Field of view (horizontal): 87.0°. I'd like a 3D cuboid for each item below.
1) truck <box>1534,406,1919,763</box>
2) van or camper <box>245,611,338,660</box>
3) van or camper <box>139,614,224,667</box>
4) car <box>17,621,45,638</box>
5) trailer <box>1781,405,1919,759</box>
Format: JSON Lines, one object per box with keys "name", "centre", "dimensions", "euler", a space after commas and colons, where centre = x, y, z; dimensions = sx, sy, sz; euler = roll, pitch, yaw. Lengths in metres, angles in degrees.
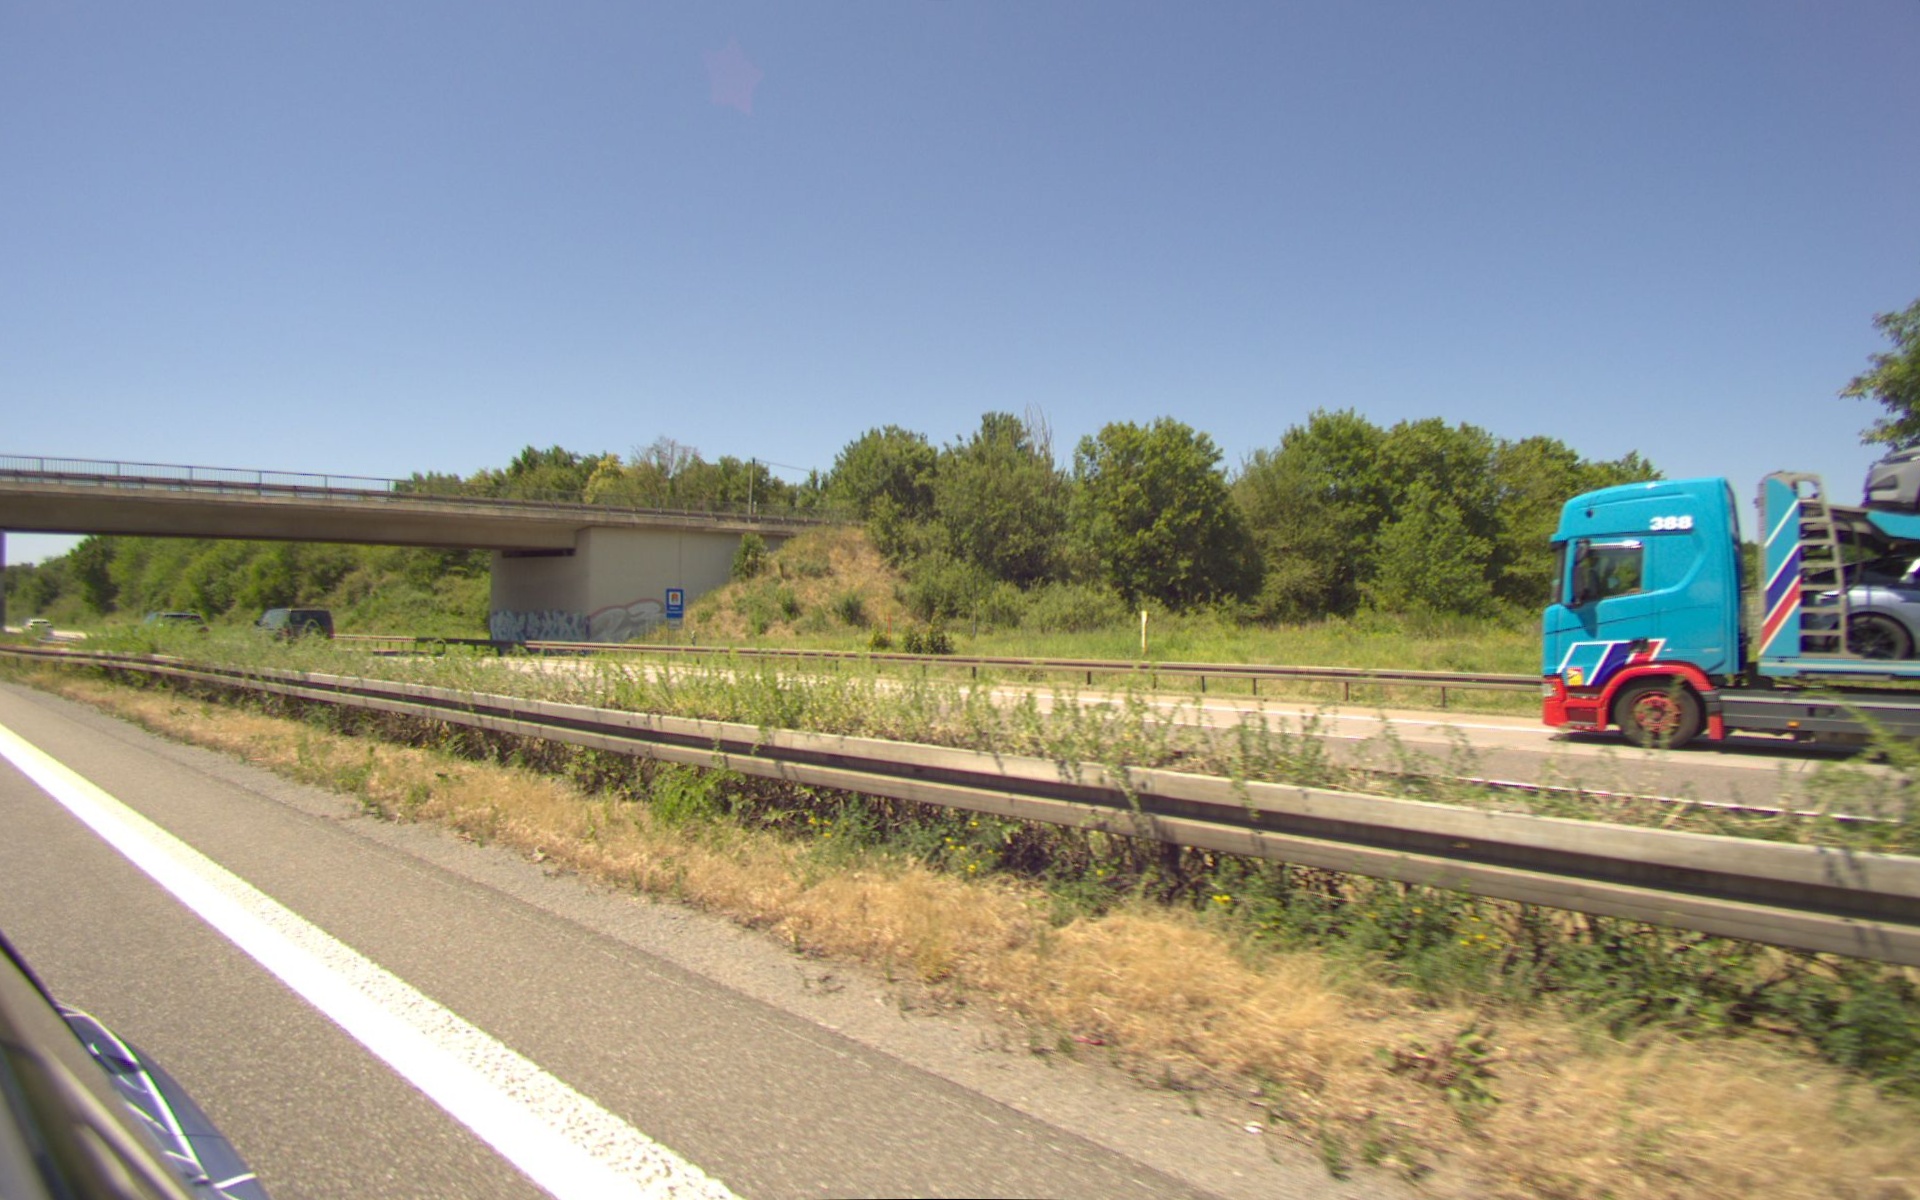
{"name": "truck", "centre": [11.580, -0.105, 12.545], "dimensions": [7.368, 4.006, 2.848], "euler": [-1, -4, 41]}
{"name": "van or camper", "centre": [-27.291, 1.413, 41.259], "dimensions": [4.453, 1.884, 1.973], "euler": [-1, -3, 41]}
{"name": "van or camper", "centre": [-28.886, 1.457, 37.507], "dimensions": [3.998, 1.782, 1.693], "euler": [-1, 1, 41]}
{"name": "car", "centre": [-81.002, 2.544, 88.248], "dimensions": [3.167, 1.397, 1.498], "euler": [-1, 1, 43]}
{"name": "trailer", "centre": [17.428, -0.230, 7.542], "dimensions": [17.465, 4.009, 2.848], "euler": [-1, -4, 41]}
